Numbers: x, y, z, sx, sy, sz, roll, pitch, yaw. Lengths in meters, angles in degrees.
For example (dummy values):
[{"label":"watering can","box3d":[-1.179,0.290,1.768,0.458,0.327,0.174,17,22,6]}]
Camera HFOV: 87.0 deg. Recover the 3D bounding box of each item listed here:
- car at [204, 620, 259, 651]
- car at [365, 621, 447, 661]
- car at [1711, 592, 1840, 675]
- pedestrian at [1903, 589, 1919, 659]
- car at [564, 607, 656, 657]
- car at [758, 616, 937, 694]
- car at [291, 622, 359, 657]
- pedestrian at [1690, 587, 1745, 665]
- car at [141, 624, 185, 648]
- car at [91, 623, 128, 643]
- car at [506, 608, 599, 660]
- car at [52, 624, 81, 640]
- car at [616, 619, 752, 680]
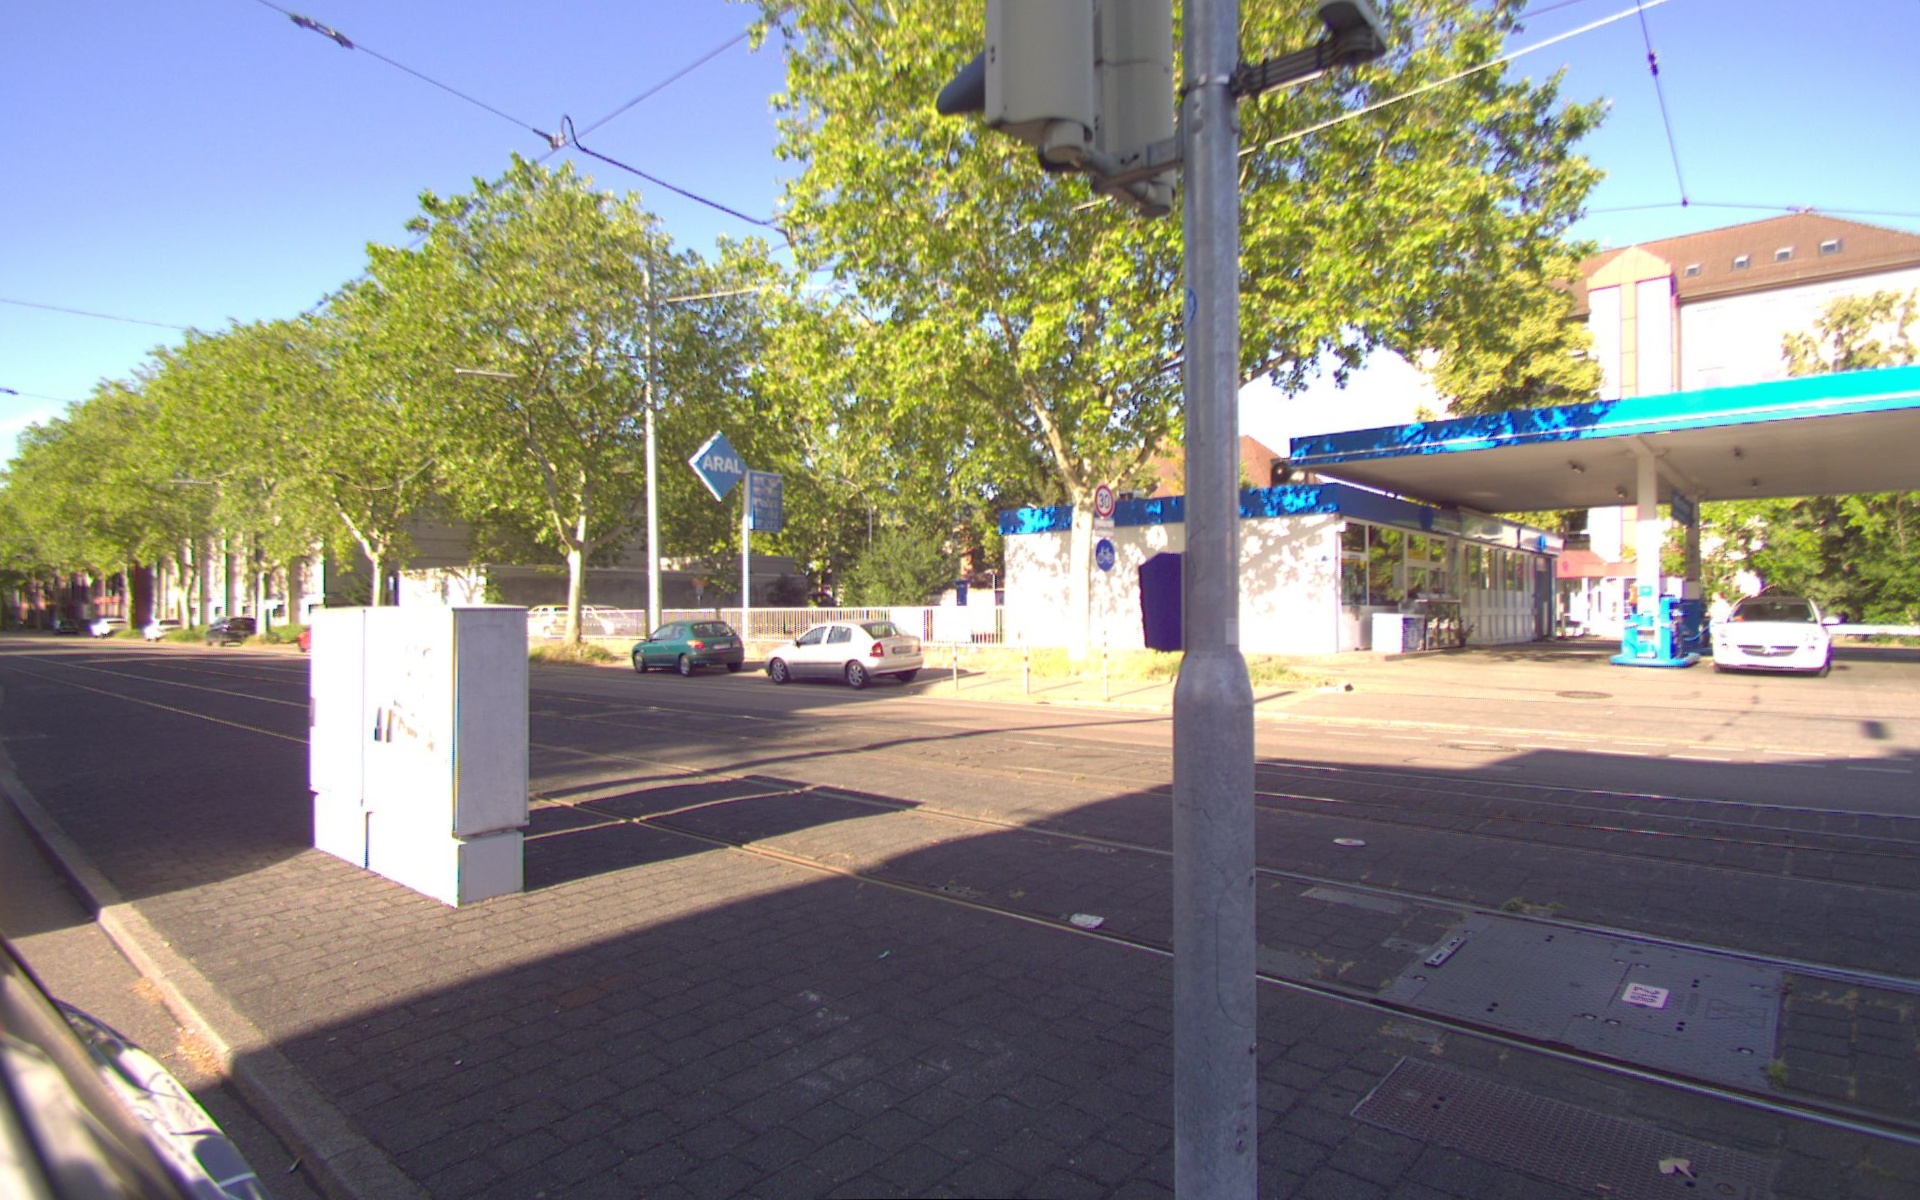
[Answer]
[{"label":"car","box3d":[-40.669,1.959,56.473,3.858,1.557,1.735,-1,0,43]},{"label":"car","box3d":[-21.976,1.590,40.080,3.858,1.468,1.735,-1,0,43]},{"label":"car","box3d":[15.951,0.614,19.774,1.793,1.453,3.946,-1,-1,40]},{"label":"pedestrian","box3d":[25.454,0.626,26.387,0.887,1.815,0.907,-1,-1,15]},{"label":"car","box3d":[-15.137,1.366,43.680,3.996,2.029,1.974,-1,-1,39]},{"label":"car","box3d":[-2.564,1.168,22.587,3.857,1.497,1.823,-1,1,42]},{"label":"car","box3d":[-28.904,1.776,46.034,3.858,1.440,1.695,-1,0,43]},{"label":"pedestrian","box3d":[16.189,0.554,21.641,0.637,1.642,0.814,1,-2,-42]},{"label":"car","box3d":[-53.632,2.403,68.108,3.858,1.495,1.735,-1,0,43]},{"label":"car","box3d":[-66.921,2.585,79.626,3.858,1.495,1.735,-1,0,43]},{"label":"car","box3d":[-17.036,1.396,42.252,3.996,2.029,1.974,-1,-1,39]},{"label":"car","box3d":[-84.869,3.019,96.100,3.858,1.495,1.735,-1,0,43]},{"label":"car","box3d":[-7.424,1.275,27.066,3.858,1.408,1.722,-1,1,43]}]
